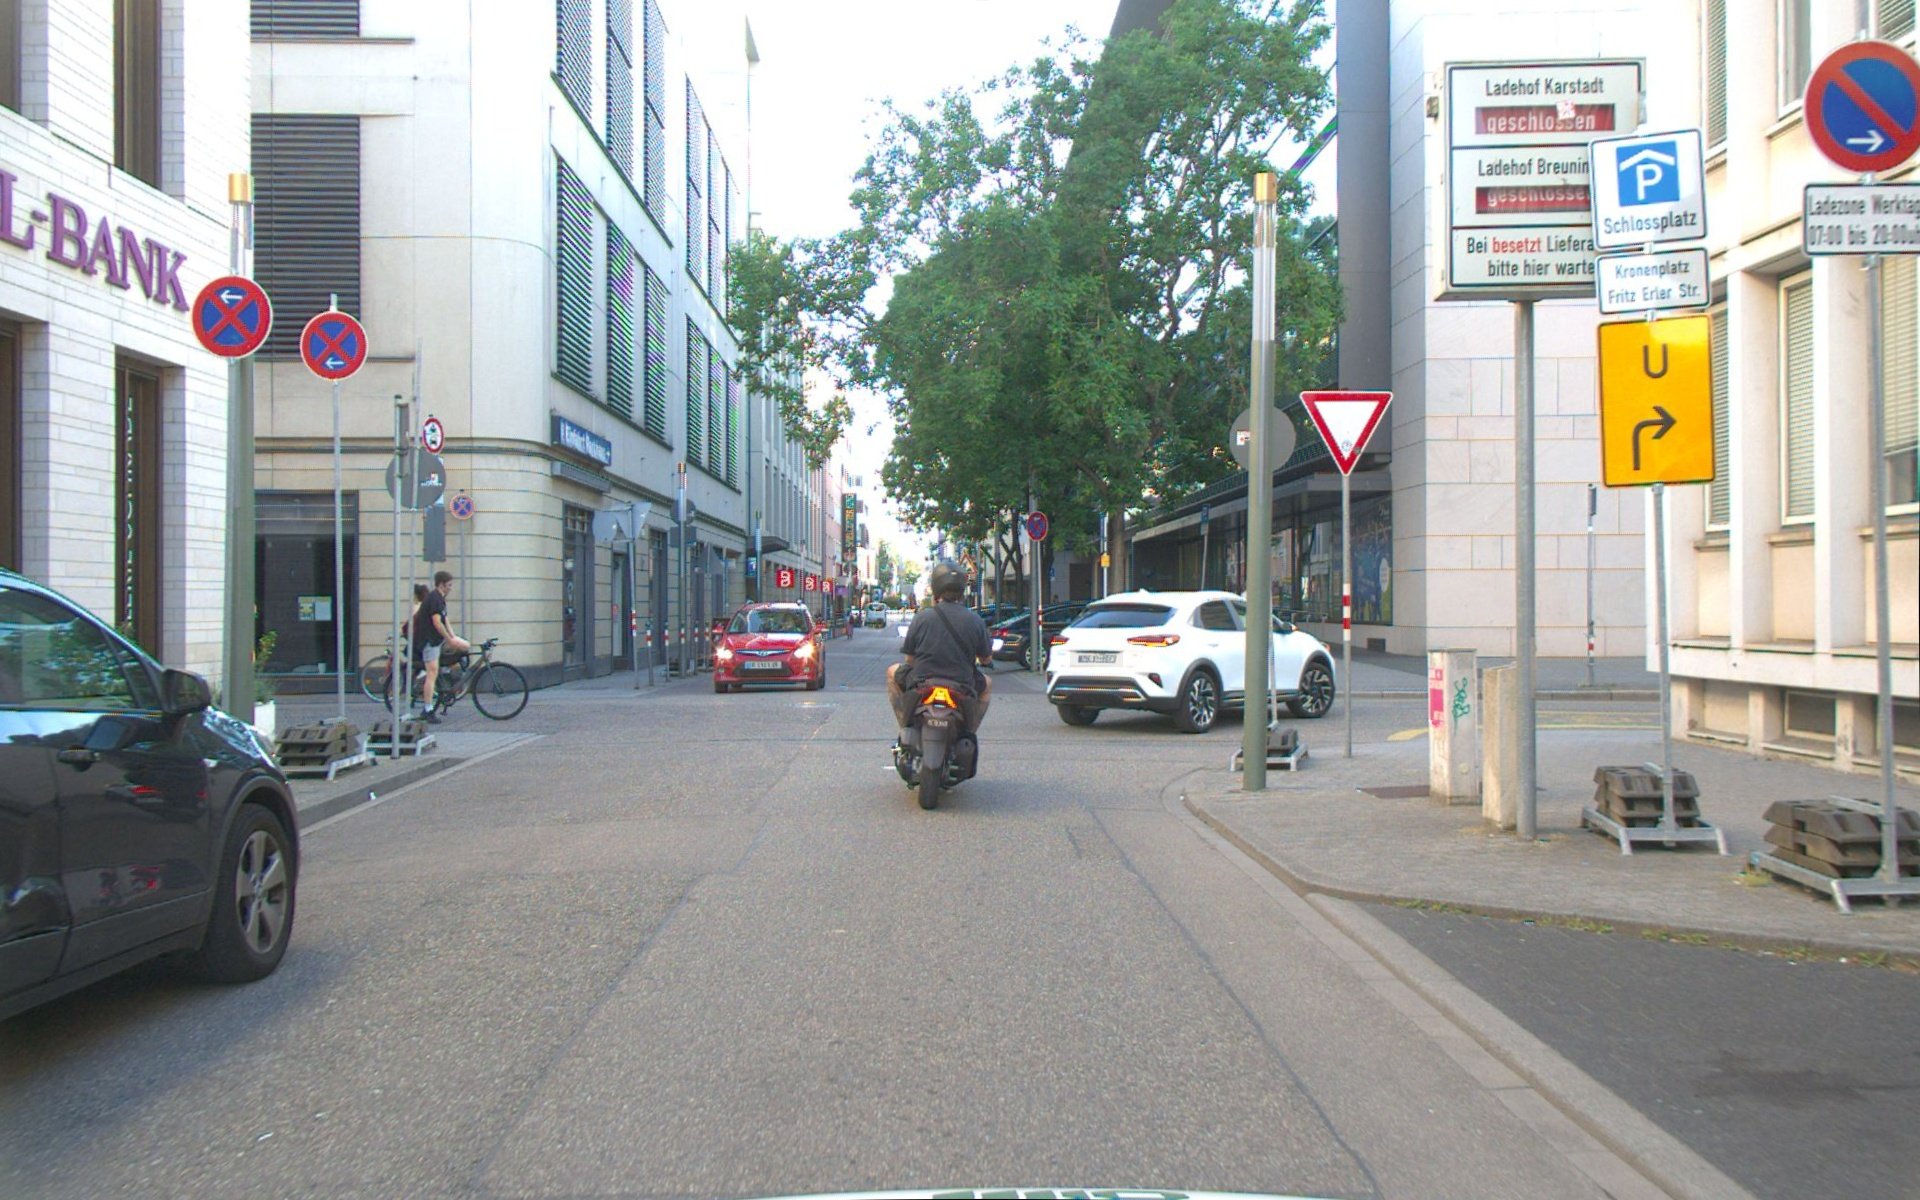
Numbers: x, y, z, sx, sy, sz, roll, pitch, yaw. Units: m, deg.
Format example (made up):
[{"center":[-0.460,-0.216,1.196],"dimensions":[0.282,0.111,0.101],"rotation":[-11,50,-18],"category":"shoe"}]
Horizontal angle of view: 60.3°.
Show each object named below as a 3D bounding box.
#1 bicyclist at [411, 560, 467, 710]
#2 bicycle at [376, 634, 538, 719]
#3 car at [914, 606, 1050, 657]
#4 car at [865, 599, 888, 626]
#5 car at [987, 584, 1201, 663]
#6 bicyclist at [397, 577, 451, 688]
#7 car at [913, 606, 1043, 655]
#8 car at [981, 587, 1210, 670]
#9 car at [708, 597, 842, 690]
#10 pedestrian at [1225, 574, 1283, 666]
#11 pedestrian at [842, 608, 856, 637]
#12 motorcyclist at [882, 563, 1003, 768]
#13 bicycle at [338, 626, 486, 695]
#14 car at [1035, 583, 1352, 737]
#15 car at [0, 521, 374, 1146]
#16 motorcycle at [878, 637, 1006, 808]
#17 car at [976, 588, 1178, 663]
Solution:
[{"center":[-6.209,0.416,19.723],"dimensions":[0.540,1.762,0.500],"rotation":[1,-1,-10],"category":"bicyclist"},{"center":[-5.989,0.905,19.751],"dimensions":[1.781,0.991,0.510],"rotation":[1,-1,-10],"category":"bicycle"},{"center":[0.795,1.171,62.202],"dimensions":[4.906,1.525,1.998],"rotation":[-4,-1,-4],"category":"car"},{"center":[-7.619,1.103,150.146],"dimensions":[1.954,2.370,5.017],"rotation":[1,0,-4],"category":"car"},{"center":[3.213,0.576,40.356],"dimensions":[4.906,1.525,1.998],"rotation":[-4,-1,-4],"category":"car"},{"center":[-8.089,0.488,24.977],"dimensions":[0.616,1.654,0.498],"rotation":[0,-1,3],"category":"bicyclist"},{"center":[0.673,1.205,64.721],"dimensions":[4.906,1.525,1.998],"rotation":[-4,-1,-4],"category":"car"},{"center":[3.044,0.643,37.861],"dimensions":[4.906,1.477,1.998],"rotation":[-4,-1,-4],"category":"car"},{"center":[-3.142,0.768,28.837],"dimensions":[1.785,1.491,4.263],"rotation":[0,-2,1],"category":"car"},{"center":[5.737,0.392,32.344],"dimensions":[0.887,1.735,0.834],"rotation":[-3,-1,0],"category":"pedestrian"},{"center":[-6.116,1.238,90.829],"dimensions":[0.717,1.601,0.636],"rotation":[0,-1,-1],"category":"pedestrian"},{"center":[-0.122,0.472,11.989],"dimensions":[0.849,1.452,0.455],"rotation":[0,-1,-1],"category":"motorcyclist"},{"center":[-8.273,0.903,24.996],"dimensions":[2.058,1.012,0.519],"rotation":[0,-1,4],"category":"bicycle"},{"center":[2.828,0.601,19.240],"dimensions":[1.793,1.568,4.244],"rotation":[0,0,38],"category":"car"},{"center":[-3.538,0.666,5.225],"dimensions":[1.785,1.707,4.264],"rotation":[-2,0,0],"category":"car"},{"center":[-0.122,0.846,12.069],"dimensions":[0.854,1.129,1.839],"rotation":[0,-1,0],"category":"motorcycle"},{"center":[2.982,0.656,42.793],"dimensions":[4.906,1.525,1.998],"rotation":[-4,-1,-4],"category":"car"}]
